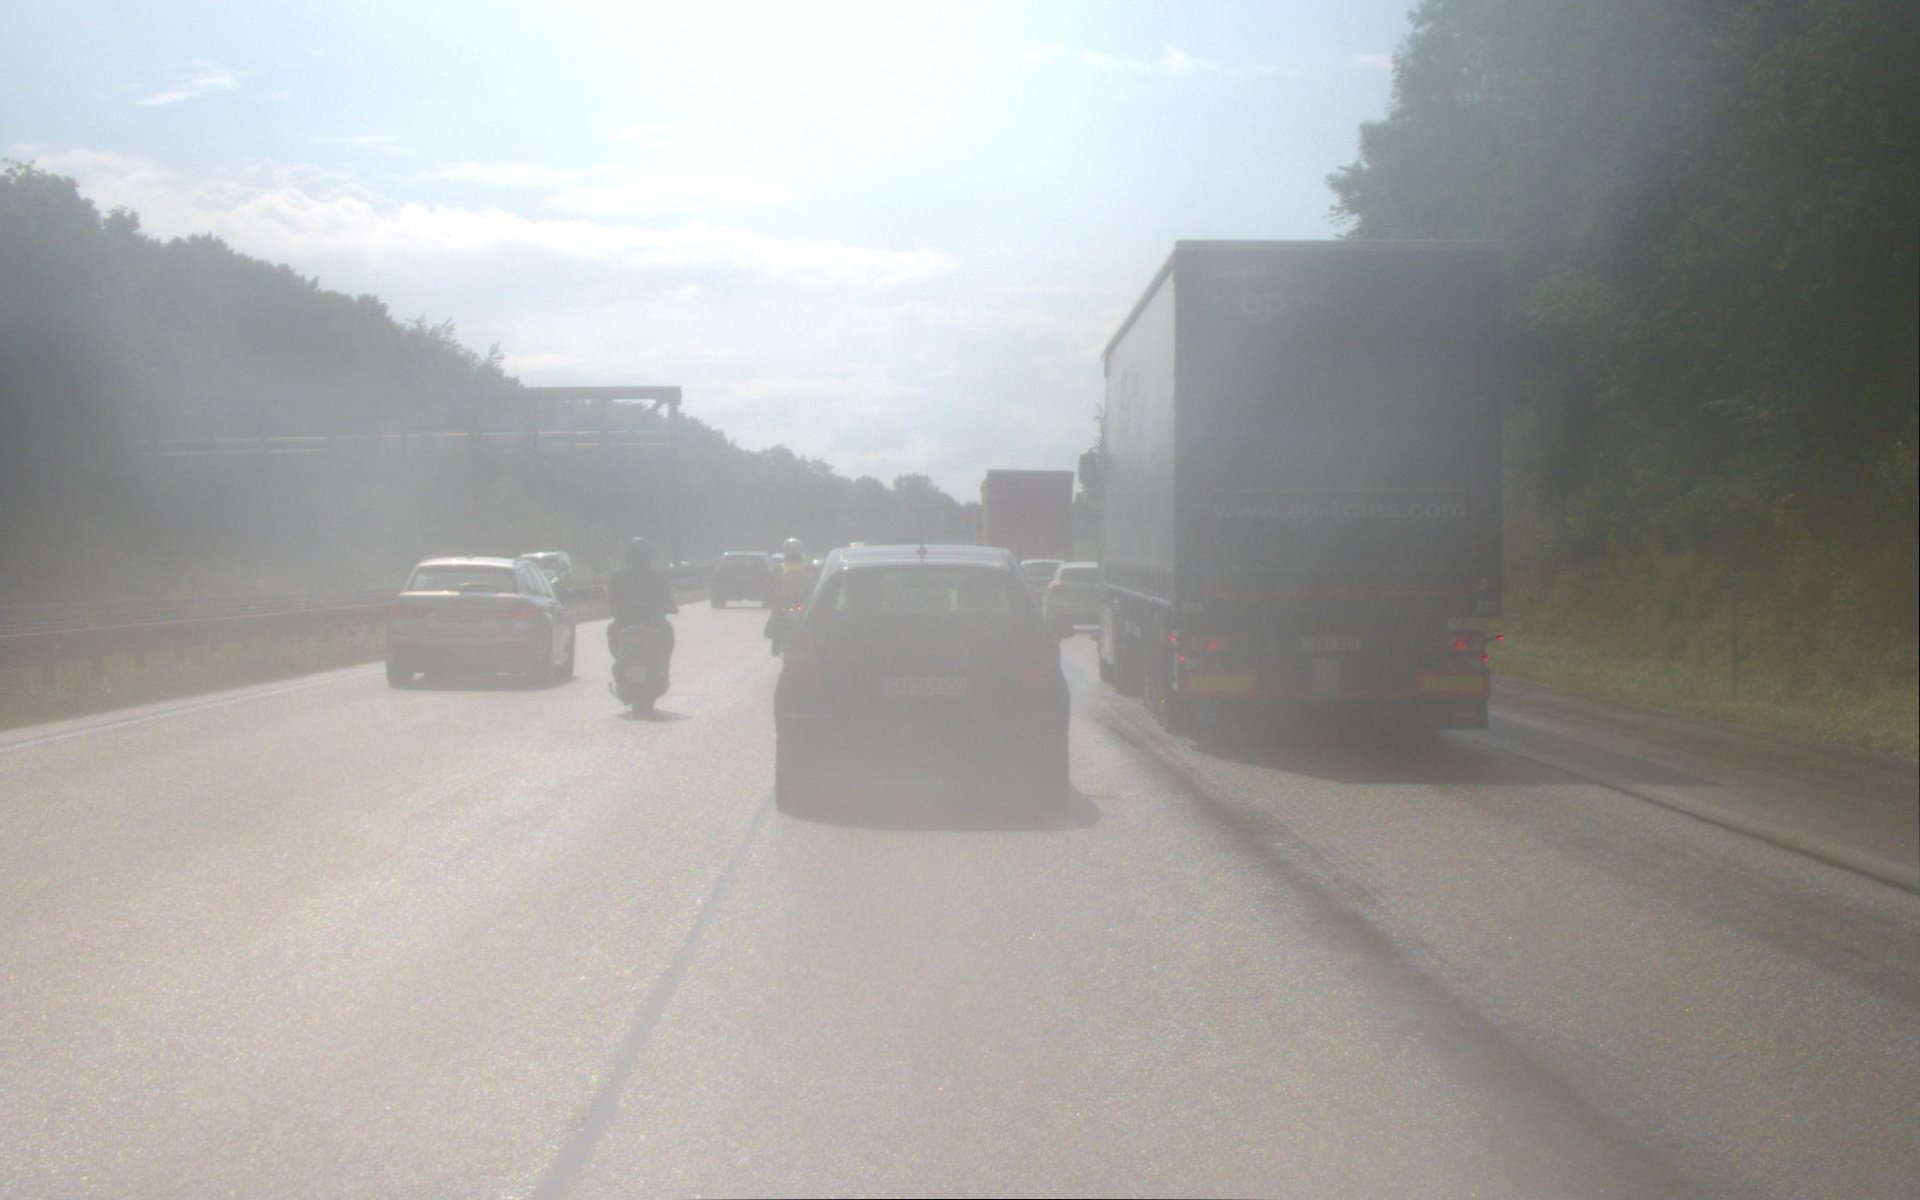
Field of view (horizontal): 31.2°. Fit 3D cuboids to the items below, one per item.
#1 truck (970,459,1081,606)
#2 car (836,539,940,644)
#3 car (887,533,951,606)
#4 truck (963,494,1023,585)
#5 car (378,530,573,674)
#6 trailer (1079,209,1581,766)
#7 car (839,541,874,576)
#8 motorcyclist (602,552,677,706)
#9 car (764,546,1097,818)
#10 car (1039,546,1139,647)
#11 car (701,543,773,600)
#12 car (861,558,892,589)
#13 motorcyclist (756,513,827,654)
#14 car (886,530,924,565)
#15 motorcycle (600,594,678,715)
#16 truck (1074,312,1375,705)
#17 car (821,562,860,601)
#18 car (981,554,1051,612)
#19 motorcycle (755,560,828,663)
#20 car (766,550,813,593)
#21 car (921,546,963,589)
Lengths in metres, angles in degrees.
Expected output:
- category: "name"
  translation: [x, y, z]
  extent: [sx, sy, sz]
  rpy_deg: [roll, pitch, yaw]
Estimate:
- category: "truck"
  translation: [1.980, -2.094, 107.884]
  extent: [3.202, 4.389, 9.432]
  rpy_deg: [0, 1, 0]
- category: "car"
  translation: [-1.436, -0.180, 68.112]
  extent: [1.993, 2.007, 4.000]
  rpy_deg: [1, 0, -1]
- category: "car"
  translation: [-1.119, -0.837, 92.794]
  extent: [1.675, 1.929, 3.773]
  rpy_deg: [0, 1, -1]
- category: "truck"
  translation: [1.714, -3.148, 183.804]
  extent: [2.882, 4.671, 12.659]
  rpy_deg: [1, 0, -1]
- category: "car"
  translation: [-5.653, -0.005, 40.545]
  extent: [1.758, 1.589, 4.331]
  rpy_deg: [0, 1, -1]
- category: "trailer"
  translation: [3.110, -0.956, 33.693]
  extent: [3.088, 4.298, 14.106]
  rpy_deg: [0, 1, -1]
- category: "car"
  translation: [-6.073, -2.400, 201.453]
  extent: [1.993, 2.007, 4.000]
  rpy_deg: [1, 0, -1]
- category: "motorcyclist"
  translation: [-3.037, 0.268, 32.636]
  extent: [0.670, 1.437, 1.020]
  rpy_deg: [1, 0, -4]
- category: "car"
  translation: [-0.214, 0.445, 21.959]
  extent: [1.915, 1.560, 4.314]
  rpy_deg: [0, 1, -1]
- category: "car"
  translation: [2.622, -0.089, 70.695]
  extent: [1.849, 2.007, 4.087]
  rpy_deg: [1, 0, 0]
- category: "car"
  translation: [-6.484, -0.852, 100.339]
  extent: [1.893, 1.622, 4.195]
  rpy_deg: [0, 1, -1]
- category: "car"
  translation: [-5.380, -1.706, 222.030]
  extent: [1.993, 2.007, 4.000]
  rpy_deg: [1, 0, -1]
- category: "motorcyclist"
  translation: [-2.136, -0.217, 43.717]
  extent: [0.821, 1.755, 1.390]
  rpy_deg: [1, 0, 0]
- category: "car"
  translation: [-2.410, -2.266, 149.485]
  extent: [1.631, 1.485, 3.437]
  rpy_deg: [0, 1, -1]
- category: "motorcycle"
  translation: [-3.040, 0.503, 32.674]
  extent: [0.676, 1.083, 1.982]
  rpy_deg: [1, 1, -4]
- category: "truck"
  translation: [3.019, -1.057, 40.915]
  extent: [3.052, 4.310, 5.886]
  rpy_deg: [1, 1, 0]
- category: "car"
  translation: [-6.383, -0.981, 183.358]
  extent: [1.993, 2.007, 4.000]
  rpy_deg: [1, 0, -1]
- category: "car"
  translation: [1.447, -0.451, 89.747]
  extent: [1.675, 1.485, 3.437]
  rpy_deg: [0, 1, -1]
- category: "motorcycle"
  translation: [-2.136, 0.131, 43.765]
  extent: [0.819, 1.258, 2.117]
  rpy_deg: [1, 1, 0]
- category: "car"
  translation: [-6.514, -1.103, 131.391]
  extent: [1.675, 1.591, 3.437]
  rpy_deg: [0, 1, -1]
- category: "car"
  translation: [-0.877, -1.569, 165.827]
  extent: [1.993, 2.007, 4.000]
  rpy_deg: [1, 0, -1]
